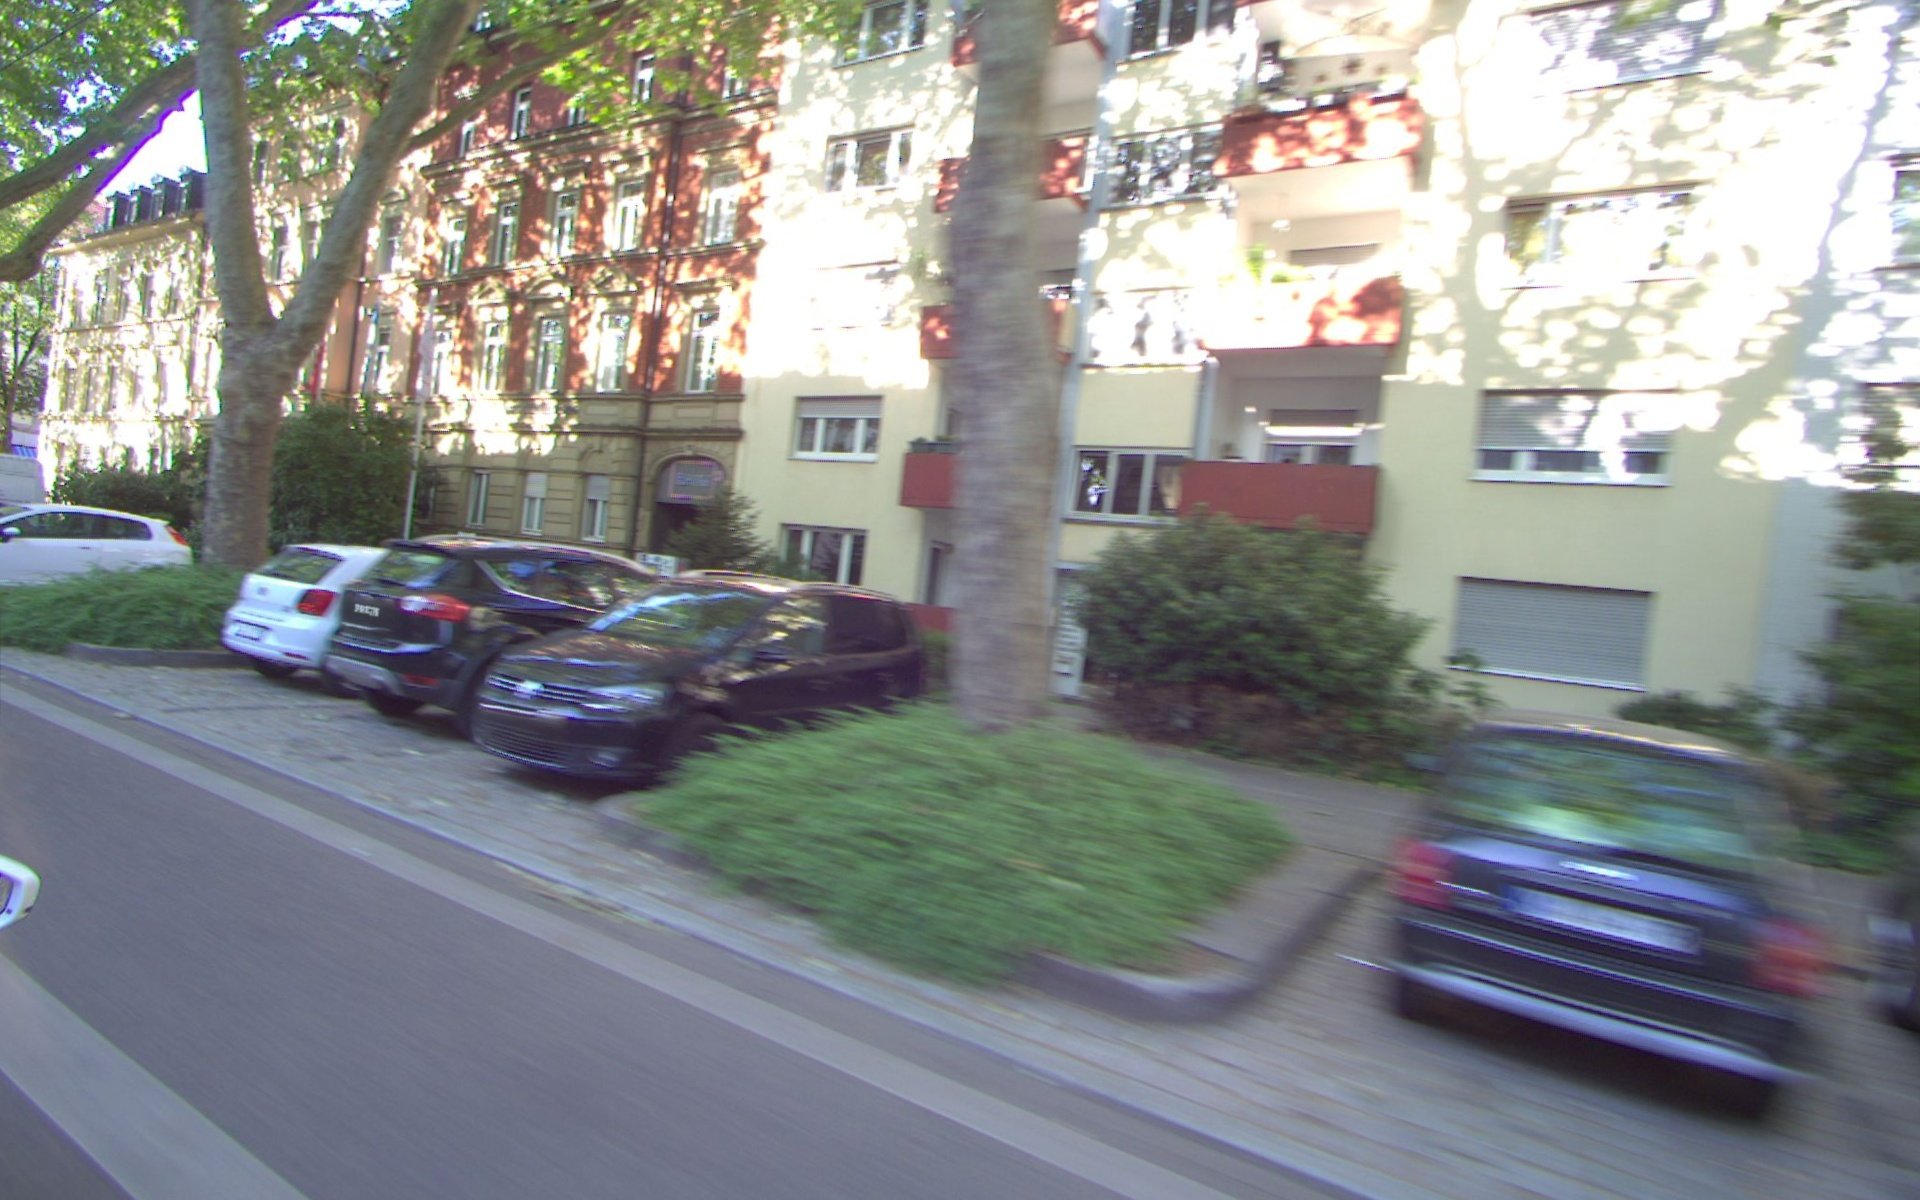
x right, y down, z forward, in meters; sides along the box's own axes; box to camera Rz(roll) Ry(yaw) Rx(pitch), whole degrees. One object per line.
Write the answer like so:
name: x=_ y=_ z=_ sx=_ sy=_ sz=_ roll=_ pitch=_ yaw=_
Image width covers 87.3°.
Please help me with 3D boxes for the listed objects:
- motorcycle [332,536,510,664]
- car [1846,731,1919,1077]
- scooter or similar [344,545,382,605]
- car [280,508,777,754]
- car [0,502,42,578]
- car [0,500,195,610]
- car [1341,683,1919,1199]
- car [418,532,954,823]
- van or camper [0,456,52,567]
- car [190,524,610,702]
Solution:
motorcycle: x=-7.714 y=-0.021 z=14.336 sx=2.771 sy=1.497 sz=0.841 roll=7 pitch=0 yaw=31
car: x=4.886 y=1.453 z=3.524 sx=1.880 sy=1.500 sz=4.199 roll=7 pitch=0 yaw=32
scooter or similar: x=-13.193 y=-0.555 z=22.234 sx=1.107 sy=1.239 sz=0.274 roll=7 pitch=0 yaw=41
car: x=-3.867 y=0.343 z=9.724 sx=1.775 sy=1.766 sz=3.999 roll=7 pitch=-1 yaw=31
car: x=-22.218 y=-1.558 z=20.783 sx=1.753 sy=1.569 sz=4.398 roll=7 pitch=-2 yaw=31
car: x=-14.774 y=-0.785 z=15.824 sx=1.661 sy=1.498 sz=3.956 roll=7 pitch=0 yaw=33
car: x=3.295 y=1.313 z=5.401 sx=1.671 sy=1.462 sz=3.832 roll=6 pitch=0 yaw=29
car: x=-1.913 y=0.604 z=8.456 sx=1.713 sy=1.672 sz=4.299 roll=7 pitch=-1 yaw=29
van or camper: x=-24.417 y=-2.352 z=22.189 sx=2.072 sy=2.521 sz=6.041 roll=7 pitch=0 yaw=31
car: x=-5.929 y=0.222 z=11.076 sx=1.632 sy=1.513 sz=3.615 roll=7 pitch=-1 yaw=30
